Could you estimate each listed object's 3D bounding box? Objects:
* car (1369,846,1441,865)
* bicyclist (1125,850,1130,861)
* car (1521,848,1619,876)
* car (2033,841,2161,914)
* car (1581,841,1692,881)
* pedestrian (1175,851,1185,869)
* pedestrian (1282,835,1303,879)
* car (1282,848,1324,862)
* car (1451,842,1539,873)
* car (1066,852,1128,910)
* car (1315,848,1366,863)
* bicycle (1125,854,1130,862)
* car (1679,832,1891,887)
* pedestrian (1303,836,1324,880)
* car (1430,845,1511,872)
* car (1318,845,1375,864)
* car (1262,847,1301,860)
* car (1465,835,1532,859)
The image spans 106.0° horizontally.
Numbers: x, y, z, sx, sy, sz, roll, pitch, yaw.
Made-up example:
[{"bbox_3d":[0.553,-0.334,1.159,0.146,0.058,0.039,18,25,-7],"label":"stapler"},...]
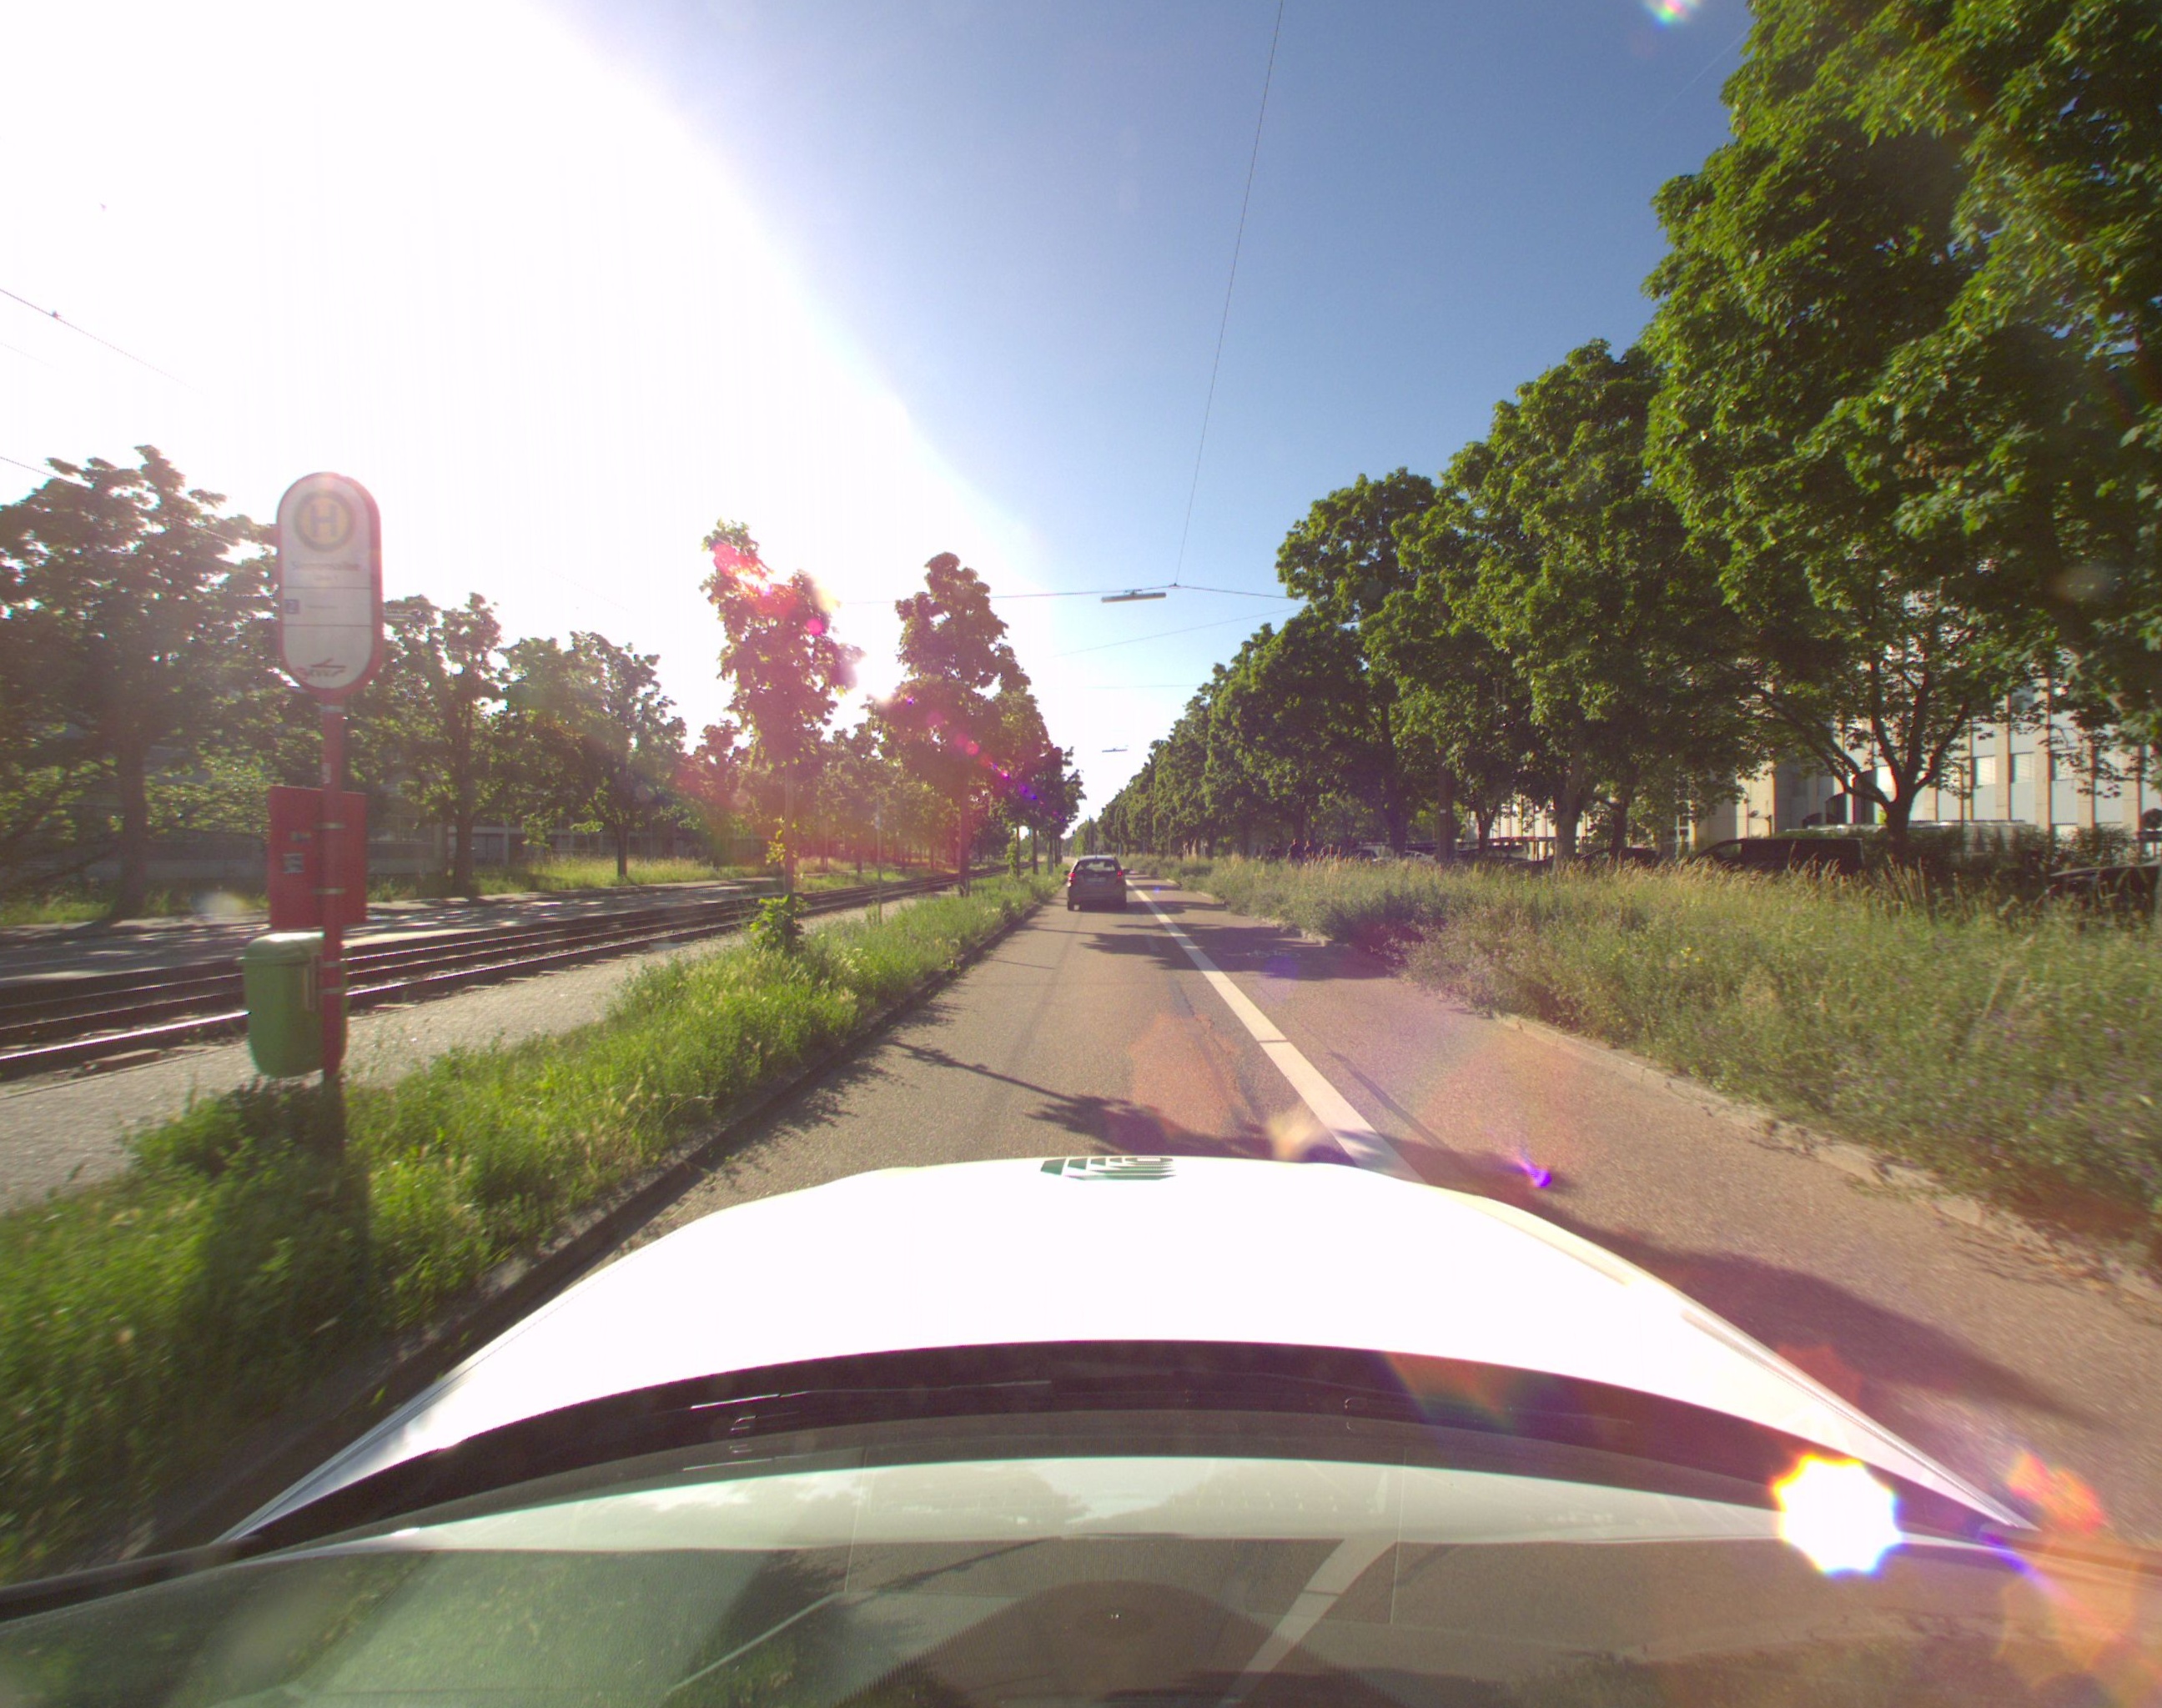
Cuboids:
[{"bbox_3d":[24.261,0.118,61.106,4.686,1.271,1.806,-1,1,-3],"label":"car"},{"bbox_3d":[7.221,0.229,125.185,0.681,1.720,0.902,-1,-1,-2],"label":"bicyclist"},{"bbox_3d":[24.015,0.383,40.038,3.936,1.341,1.719,0,0,38],"label":"car"},{"bbox_3d":[23.690,0.490,17.109,4.490,1.515,1.859,0,0,36],"label":"car"},{"bbox_3d":[24.384,0.289,35.811,3.936,1.638,1.734,0,0,38],"label":"car"},{"bbox_3d":[8.653,0.509,71.061,0.821,1.569,0.762,0,0,1],"label":"pedestrian"},{"bbox_3d":[9.321,0.131,35.926,0.705,1.918,0.817,0,0,2],"label":"pedestrian"},{"bbox_3d":[24.306,0.098,89.084,4.147,1.432,1.826,0,0,3],"label":"car"},{"bbox_3d":[24.005,0.193,47.259,4.334,1.700,1.760,-1,0,-10],"label":"car"},{"bbox_3d":[0.431,0.730,23.738,1.619,1.499,3.456,-2,0,0],"label":"car"},{"bbox_3d":[24.681,0.131,77.609,4.272,1.324,1.943,-1,1,4],"label":"car"},{"bbox_3d":[7.213,0.598,125.064,0.482,1.204,2.140,0,-2,-4],"label":"bicycle"},{"bbox_3d":[24.294,0.180,28.304,1.929,1.752,5.391,0,0,-42],"label":"car"},{"bbox_3d":[10.272,0.179,35.954,0.705,1.930,0.817,0,0,2],"label":"pedestrian"},{"bbox_3d":[23.579,0.266,49.359,4.230,1.536,1.760,-1,0,-10],"label":"car"},{"bbox_3d":[23.582,0.058,72.401,4.382,1.596,1.882,-1,0,-4],"label":"car"},{"bbox_3d":[23.968,-0.023,97.308,4.338,1.459,1.690,-1,0,3],"label":"car"},{"bbox_3d":[35.925,-0.609,70.182,4.734,1.950,1.974,-1,0,-1],"label":"car"}]
